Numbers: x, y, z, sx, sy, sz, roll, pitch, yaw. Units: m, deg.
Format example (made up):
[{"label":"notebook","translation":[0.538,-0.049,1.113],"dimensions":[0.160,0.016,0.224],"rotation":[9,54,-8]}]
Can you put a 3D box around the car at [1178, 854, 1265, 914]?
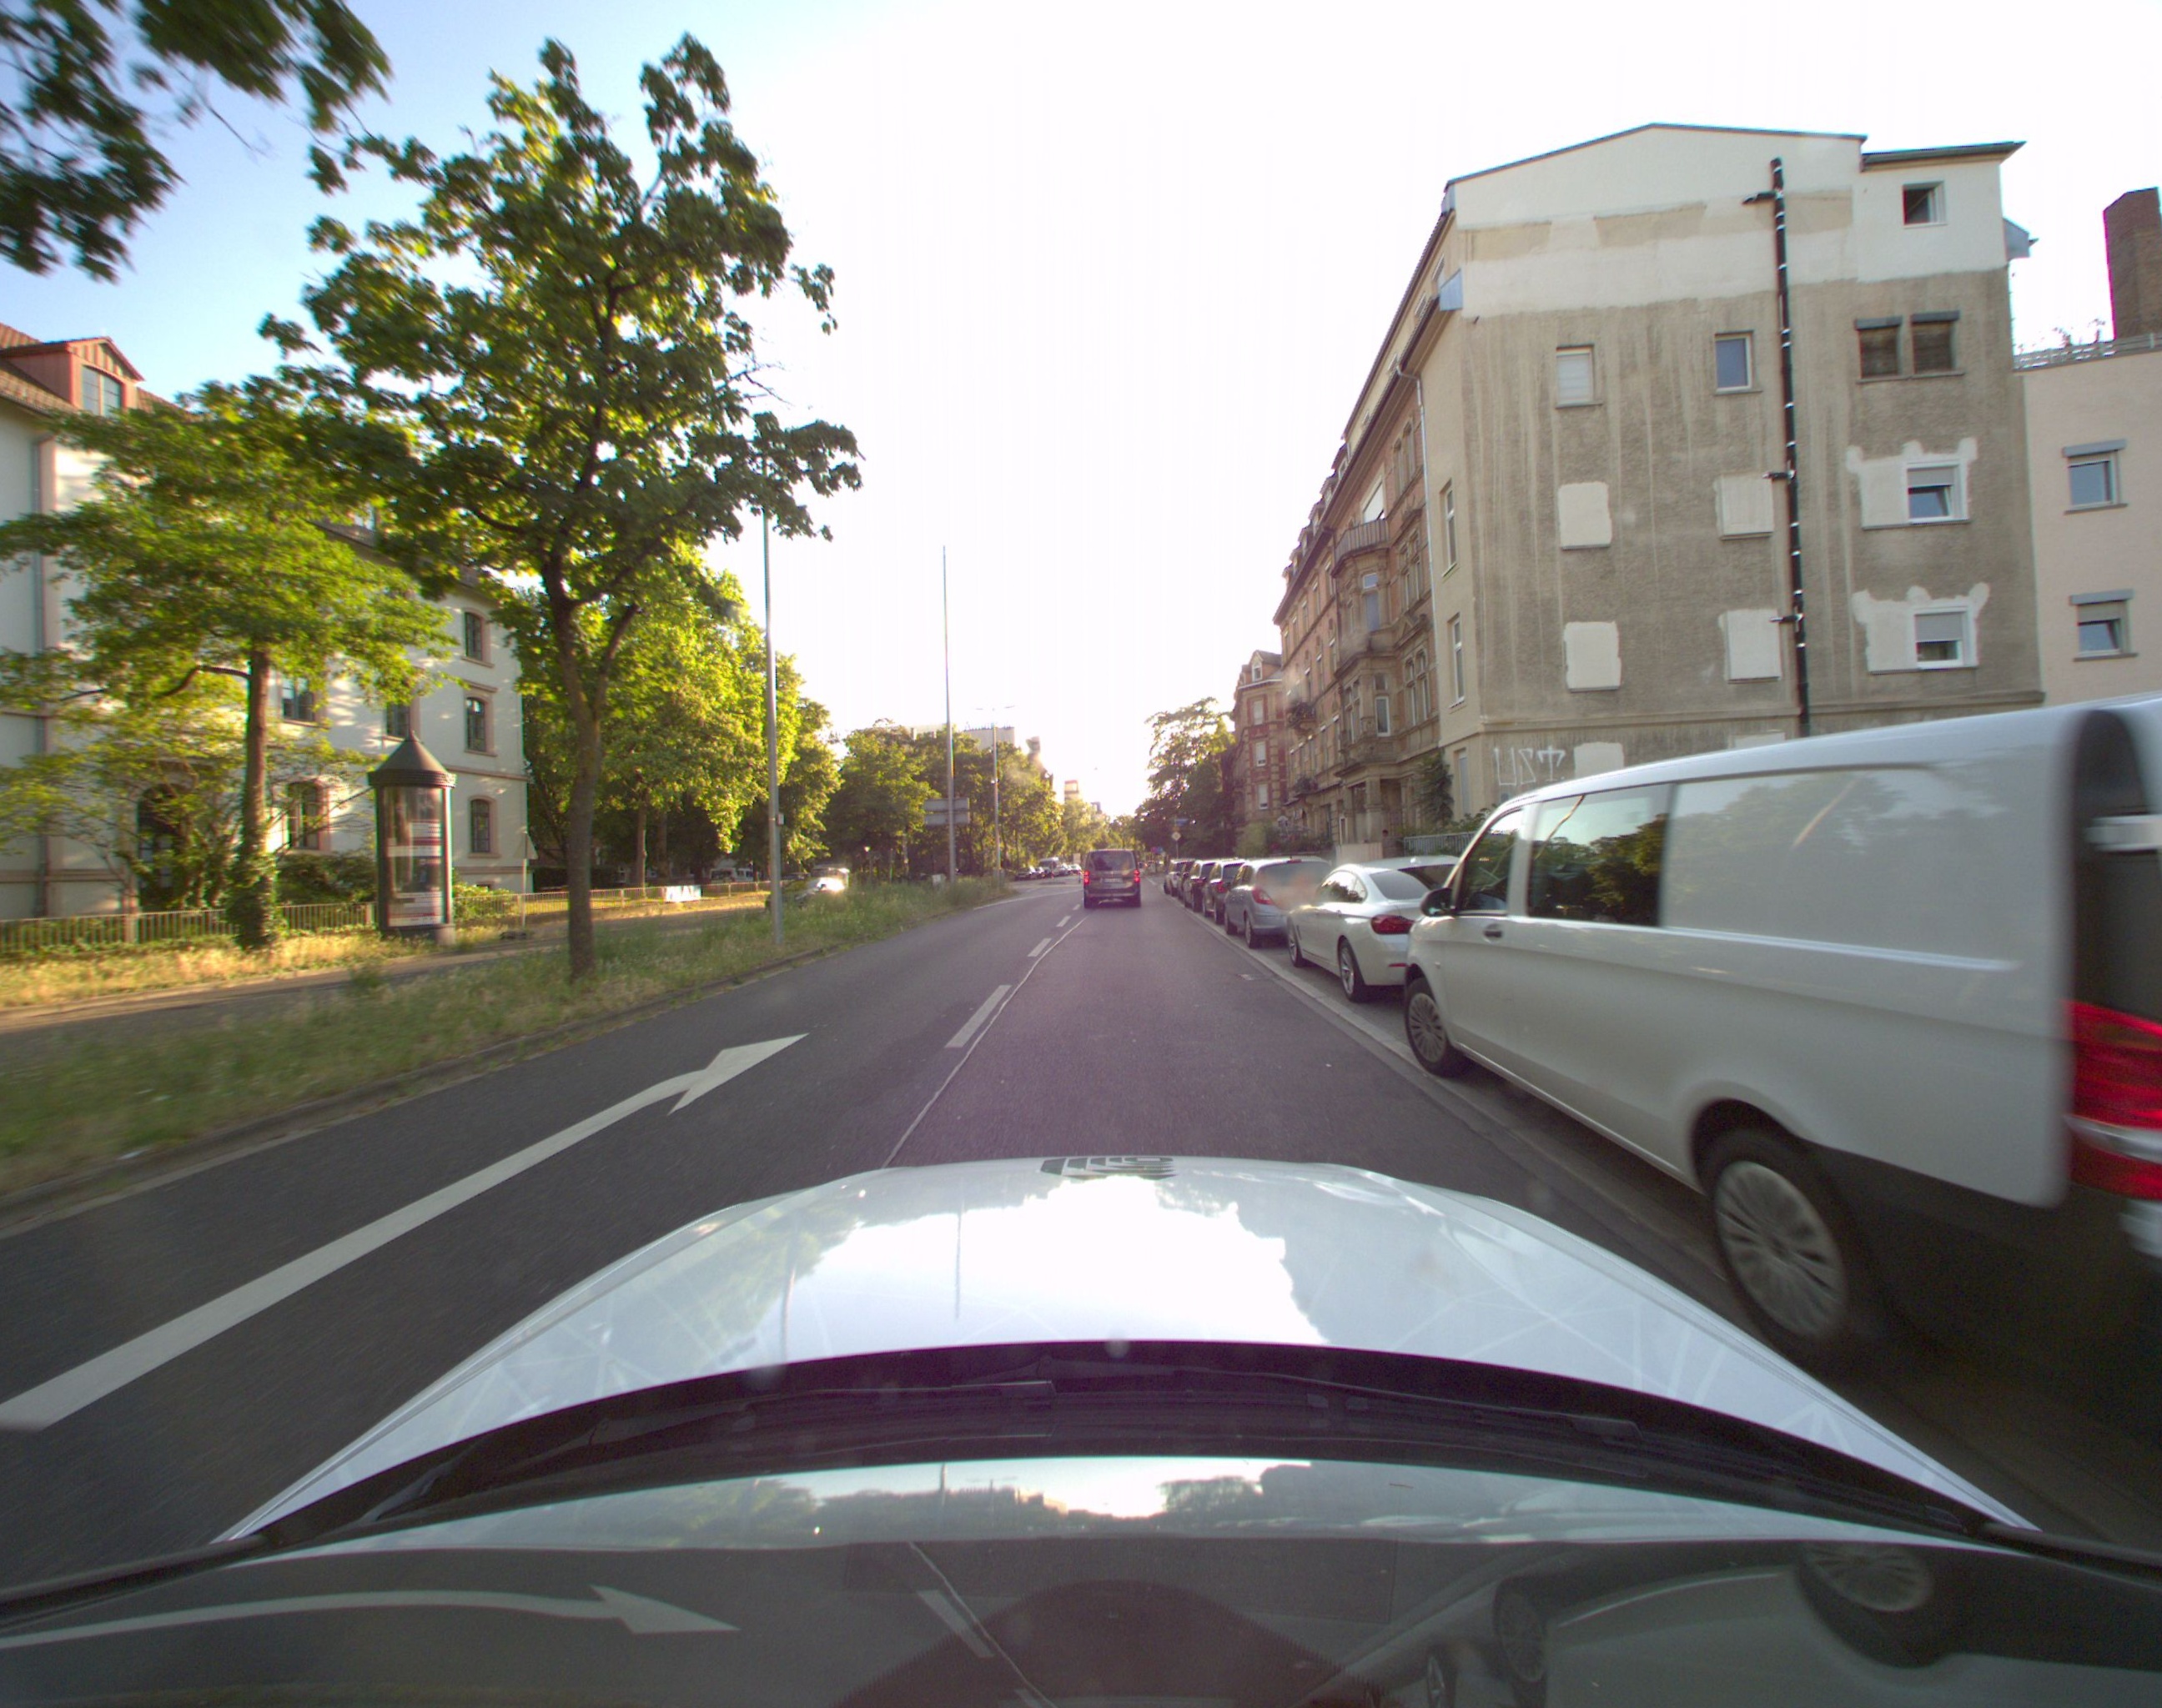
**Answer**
[{"label":"car","translation":[4.066,0.831,24.290],"dimensions":[1.880,1.448,4.466],"rotation":[-6,-1,2]}]

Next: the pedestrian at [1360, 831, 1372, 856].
[{"label":"pedestrian","translation":[10.025,-0.362,28.641],"dimensions":[0.305,0.870,0.322],"rotation":[-1,-1,36]}]

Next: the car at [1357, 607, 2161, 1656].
[{"label":"car","translation":[3.048,0.455,3.947],"dimensions":[1.879,1.918,5.185],"rotation":[-6,-1,5]}]

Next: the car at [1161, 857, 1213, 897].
[{"label":"car","translation":[4.360,0.945,34.049],"dimensions":[1.671,1.426,3.678],"rotation":[-6,-1,2]}]

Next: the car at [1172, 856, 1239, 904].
[{"label":"car","translation":[4.419,0.907,29.596],"dimensions":[1.880,1.426,4.346],"rotation":[-6,-1,3]}]

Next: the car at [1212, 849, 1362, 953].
[{"label":"car","translation":[3.579,0.766,14.850],"dimensions":[1.694,1.487,3.893],"rotation":[-6,-1,1]}]

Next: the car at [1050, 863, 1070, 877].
[{"label":"car","translation":[-2.800,2.124,108.371],"dimensions":[1.856,1.645,4.580],"rotation":[-3,-1,7]}]

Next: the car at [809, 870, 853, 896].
[{"label":"car","translation":[-18.473,2.090,60.308],"dimensions":[1.810,1.795,4.003],"rotation":[-2,-1,3]}]

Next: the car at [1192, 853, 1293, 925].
[{"label":"car","translation":[3.844,0.798,19.936],"dimensions":[1.740,1.426,3.842],"rotation":[-6,-1,2]}]

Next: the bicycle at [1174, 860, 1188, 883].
[{"label":"bicycle","translation":[6.006,1.080,49.020],"dimensions":[0.563,1.275,2.266],"rotation":[-6,-2,3]}]

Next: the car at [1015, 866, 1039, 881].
[{"label":"car","translation":[-5.743,2.105,87.649],"dimensions":[1.614,1.507,4.554],"rotation":[-3,-1,8]}]

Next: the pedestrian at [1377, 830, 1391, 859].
[{"label":"pedestrian","translation":[10.821,-0.335,29.083],"dimensions":[0.398,1.029,0.322],"rotation":[-1,-1,36]}]

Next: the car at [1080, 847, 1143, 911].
[{"label":"car","translation":[1.046,0.801,27.531],"dimensions":[1.880,1.925,3.841],"rotation":[-3,-1,2]}]

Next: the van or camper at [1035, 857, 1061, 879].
[{"label":"van or camper","translation":[-4.014,1.689,101.160],"dimensions":[2.080,2.468,6.317],"rotation":[-3,-1,7]}]

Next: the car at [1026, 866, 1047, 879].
[{"label":"car","translation":[-5.063,2.110,93.433],"dimensions":[1.620,1.429,4.250],"rotation":[-3,-1,7]}]

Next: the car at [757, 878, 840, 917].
[{"label":"car","translation":[-11.739,1.777,34.124],"dimensions":[1.766,1.273,4.011],"rotation":[-6,-1,3]}]

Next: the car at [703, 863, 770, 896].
[{"label":"car","translation":[-25.875,1.893,61.370],"dimensions":[2.201,2.289,5.112],"rotation":[-2,-1,10]}]

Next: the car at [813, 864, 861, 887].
[{"label":"car","translation":[-29.869,2.618,99.830],"dimensions":[2.244,2.486,5.267],"rotation":[-3,-1,41]}]

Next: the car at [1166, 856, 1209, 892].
[{"label":"car","translation":[5.049,0.941,38.959],"dimensions":[1.718,1.465,3.551],"rotation":[-6,-1,5]}]

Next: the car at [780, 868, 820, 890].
[{"label":"car","translation":[-25.079,2.212,72.904],"dimensions":[1.985,1.882,4.003],"rotation":[-1,-1,3]}]

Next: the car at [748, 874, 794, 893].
[{"label":"car","translation":[-23.101,2.180,60.857],"dimensions":[1.725,1.332,4.003],"rotation":[-2,-1,3]}]

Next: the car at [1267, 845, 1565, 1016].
[{"label":"car","translation":[3.561,0.721,9.713],"dimensions":[1.721,1.385,4.646],"rotation":[-6,-1,3]}]
